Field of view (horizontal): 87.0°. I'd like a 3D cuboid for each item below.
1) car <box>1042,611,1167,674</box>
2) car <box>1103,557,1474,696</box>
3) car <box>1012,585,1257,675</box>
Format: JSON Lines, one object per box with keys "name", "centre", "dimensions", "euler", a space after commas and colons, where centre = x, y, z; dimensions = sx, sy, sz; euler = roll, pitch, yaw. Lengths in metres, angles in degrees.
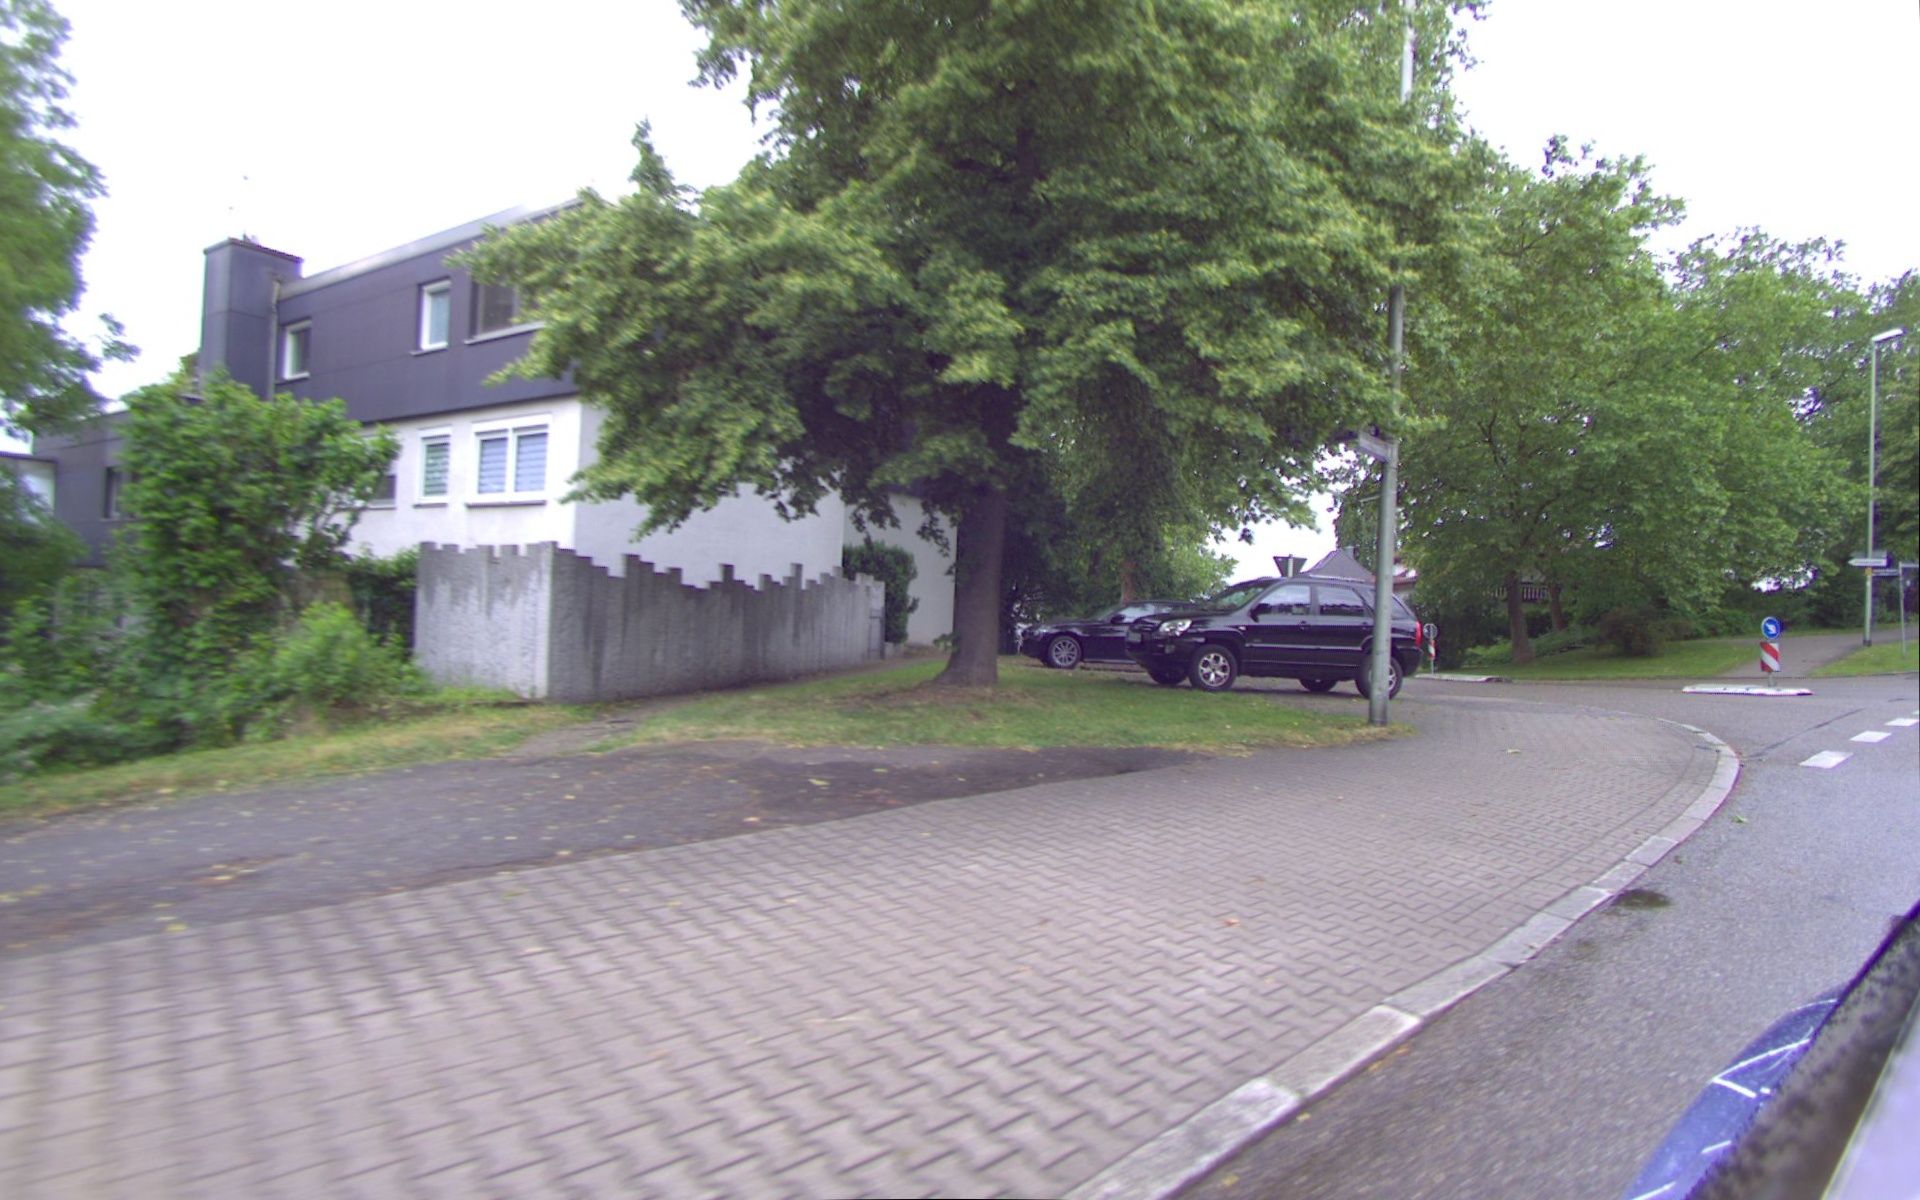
{"name": "car", "centre": [7.400, 2.129, 52.140], "dimensions": [6.047, 2.708, 2.351], "euler": [4, -1, 9]}
{"name": "car", "centre": [4.758, 0.418, 14.913], "dimensions": [4.801, 1.711, 1.957], "euler": [3, -2, -11]}
{"name": "car", "centre": [3.382, 0.593, 20.168], "dimensions": [4.477, 1.489, 1.757], "euler": [3, -2, -2]}
